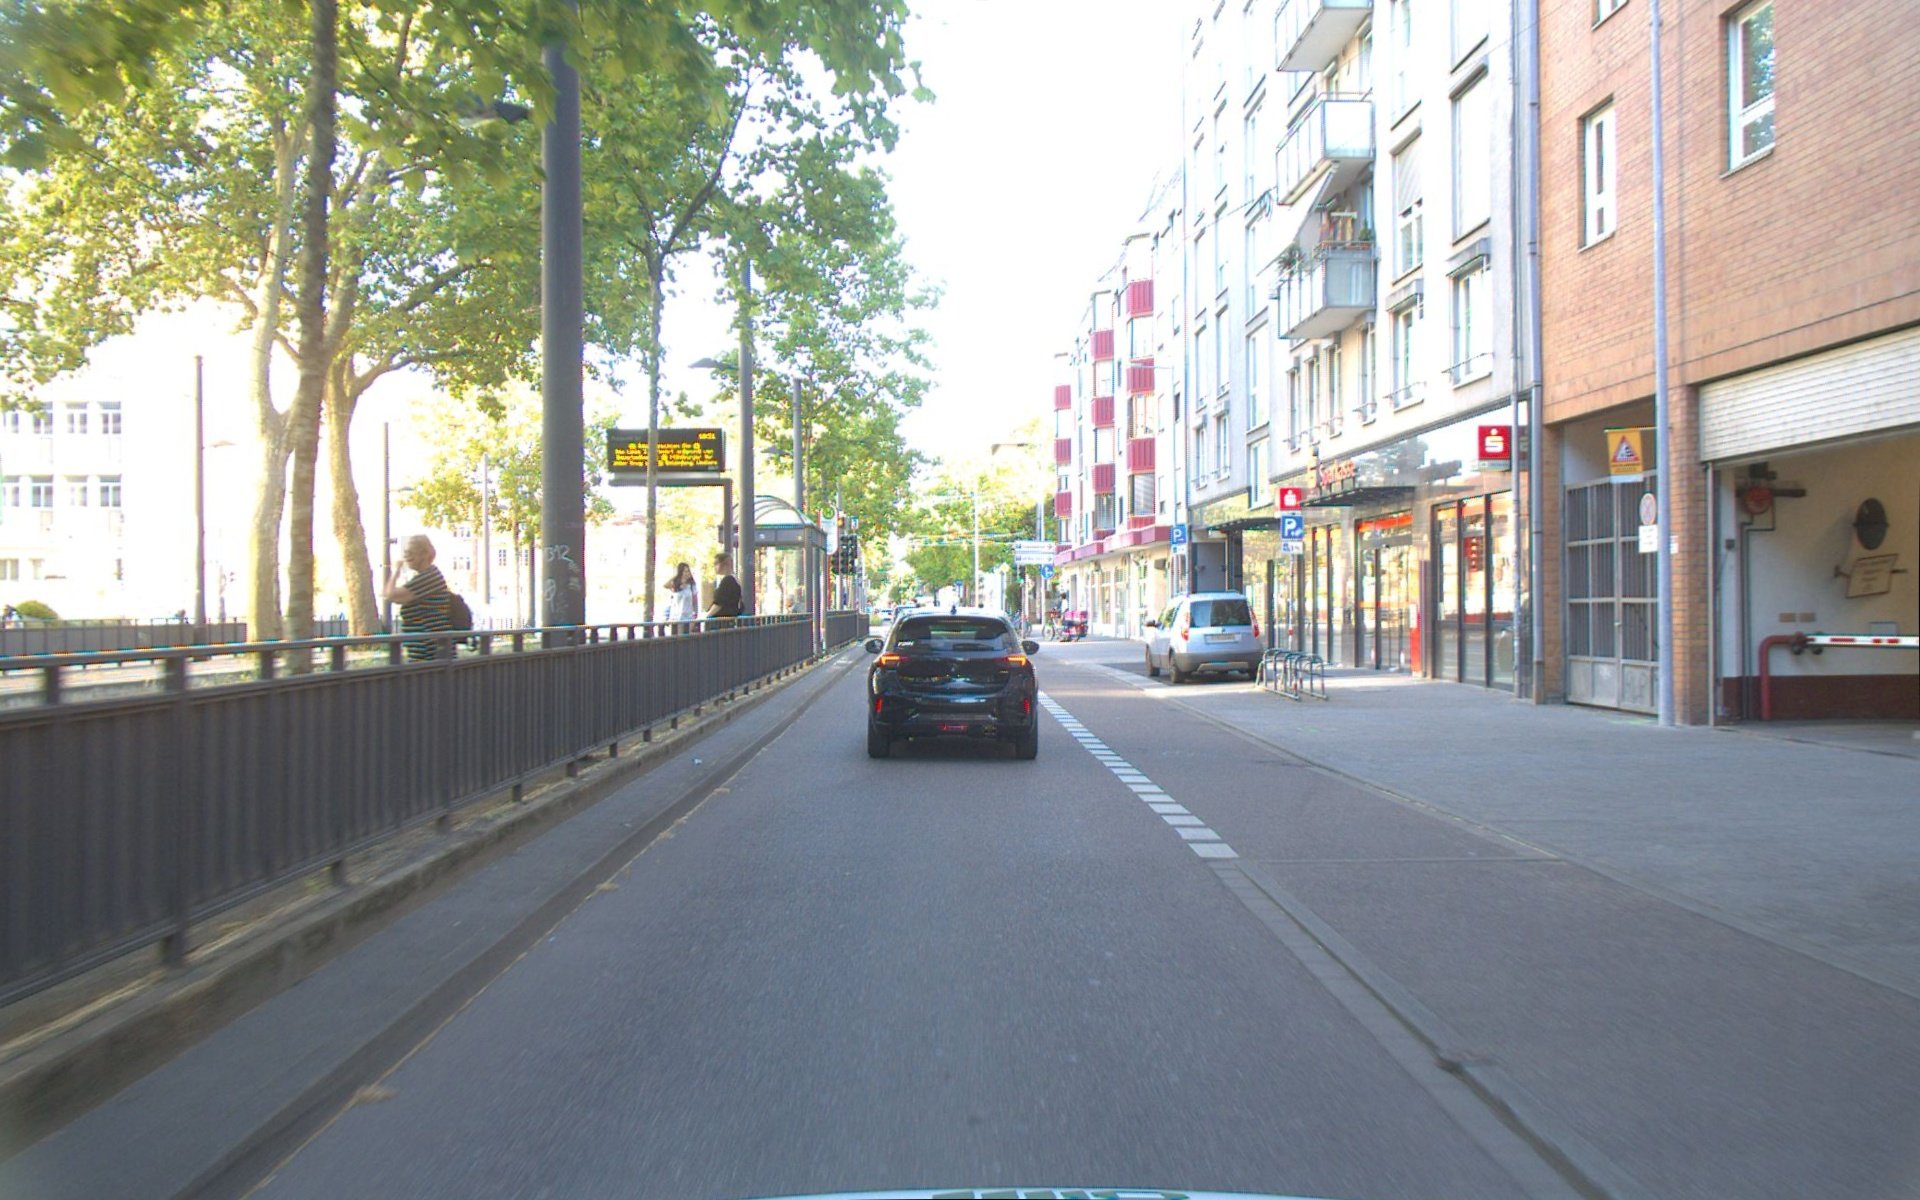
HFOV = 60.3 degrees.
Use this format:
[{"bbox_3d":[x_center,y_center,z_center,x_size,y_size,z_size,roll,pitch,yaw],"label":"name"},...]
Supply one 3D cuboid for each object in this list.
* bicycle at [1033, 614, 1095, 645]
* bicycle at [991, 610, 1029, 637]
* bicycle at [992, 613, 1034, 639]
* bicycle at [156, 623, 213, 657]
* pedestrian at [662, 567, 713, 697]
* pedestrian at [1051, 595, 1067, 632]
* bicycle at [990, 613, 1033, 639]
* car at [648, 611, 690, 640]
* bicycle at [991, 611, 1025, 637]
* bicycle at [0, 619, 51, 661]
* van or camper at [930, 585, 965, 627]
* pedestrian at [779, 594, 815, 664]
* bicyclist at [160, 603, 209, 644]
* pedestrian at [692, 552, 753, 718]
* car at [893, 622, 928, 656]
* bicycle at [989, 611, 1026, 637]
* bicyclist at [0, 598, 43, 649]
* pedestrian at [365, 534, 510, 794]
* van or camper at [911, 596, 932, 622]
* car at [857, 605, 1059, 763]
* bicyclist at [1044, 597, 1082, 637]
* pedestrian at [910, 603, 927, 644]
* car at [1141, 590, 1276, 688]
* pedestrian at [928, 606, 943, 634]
[{"bbox_3d":[4.091,1.149,65.079,0.954,1.204,2.560,0,0,-40],"label":"bicycle"},{"bbox_3d":[2.348,1.118,78.249,1.793,1.242,0.496,0,0,1],"label":"bicycle"},{"bbox_3d":[2.457,1.202,76.743,1.902,1.191,0.571,-1,-1,-5],"label":"bicycle"},{"bbox_3d":[-25.023,1.271,53.419,0.784,1.014,2.583,1,0,-4],"label":"bicycle"},{"bbox_3d":[-4.031,0.467,24.512,0.632,1.904,0.753,0,-1,-1],"label":"pedestrian"},{"bbox_3d":[5.184,0.704,86.721,0.708,1.890,0.800,-1,-1,-3],"label":"pedestrian"},{"bbox_3d":[2.411,1.210,77.397,1.939,1.220,0.590,-1,-1,-7],"label":"bicycle"},{"bbox_3d":[-20.947,1.811,119.333,1.951,1.982,4.426,0,0,4],"label":"car"},{"bbox_3d":[2.284,1.139,78.817,1.589,1.220,0.496,-1,-1,2],"label":"bicycle"},{"bbox_3d":[-24.481,1.015,42.650,0.784,1.014,2.583,1,0,-4],"label":"bicycle"},{"bbox_3d":[-1.062,0.524,133.824,2.328,3.179,7.546,-3,0,-3],"label":"van or camper"},{"bbox_3d":[-3.163,0.562,32.123,0.613,1.342,0.801,0,0,-1],"label":"pedestrian"},{"bbox_3d":[-25.011,0.750,53.356,0.984,1.272,1.373,1,0,-4],"label":"bicyclist"},{"bbox_3d":[-2.796,0.406,19.522,0.633,1.920,0.661,0,0,-2],"label":"pedestrian"},{"bbox_3d":[-2.639,2.072,89.034,1.795,1.651,4.283,-2,0,-1],"label":"car"},{"bbox_3d":[2.290,1.171,79.560,1.764,1.220,0.546,-1,-2,2],"label":"bicycle"},{"bbox_3d":[-24.485,0.583,42.612,0.984,1.272,1.373,1,0,-4],"label":"bicyclist"},{"bbox_3d":[-3.610,0.429,11.496,0.714,1.732,0.863,0,0,0],"label":"pedestrian"},{"bbox_3d":[-4.813,1.133,207.445,2.436,3.046,5.432,1,-1,-1],"label":"van or camper"},{"bbox_3d":[-0.055,0.783,17.441,1.866,1.450,4.214,0,0,-1],"label":"car"},{"bbox_3d":[4.064,0.668,65.109,1.050,1.567,1.063,0,-1,-40],"label":"bicyclist"},{"bbox_3d":[-1.810,1.028,72.160,0.719,1.777,0.712,0,0,3],"label":"pedestrian"},{"bbox_3d":[4.673,0.701,31.695,1.796,1.651,4.283,-3,0,-1],"label":"car"},{"bbox_3d":[-1.829,1.450,122.684,1.015,2.059,1.211,0,-1,-3],"label":"pedestrian"}]
